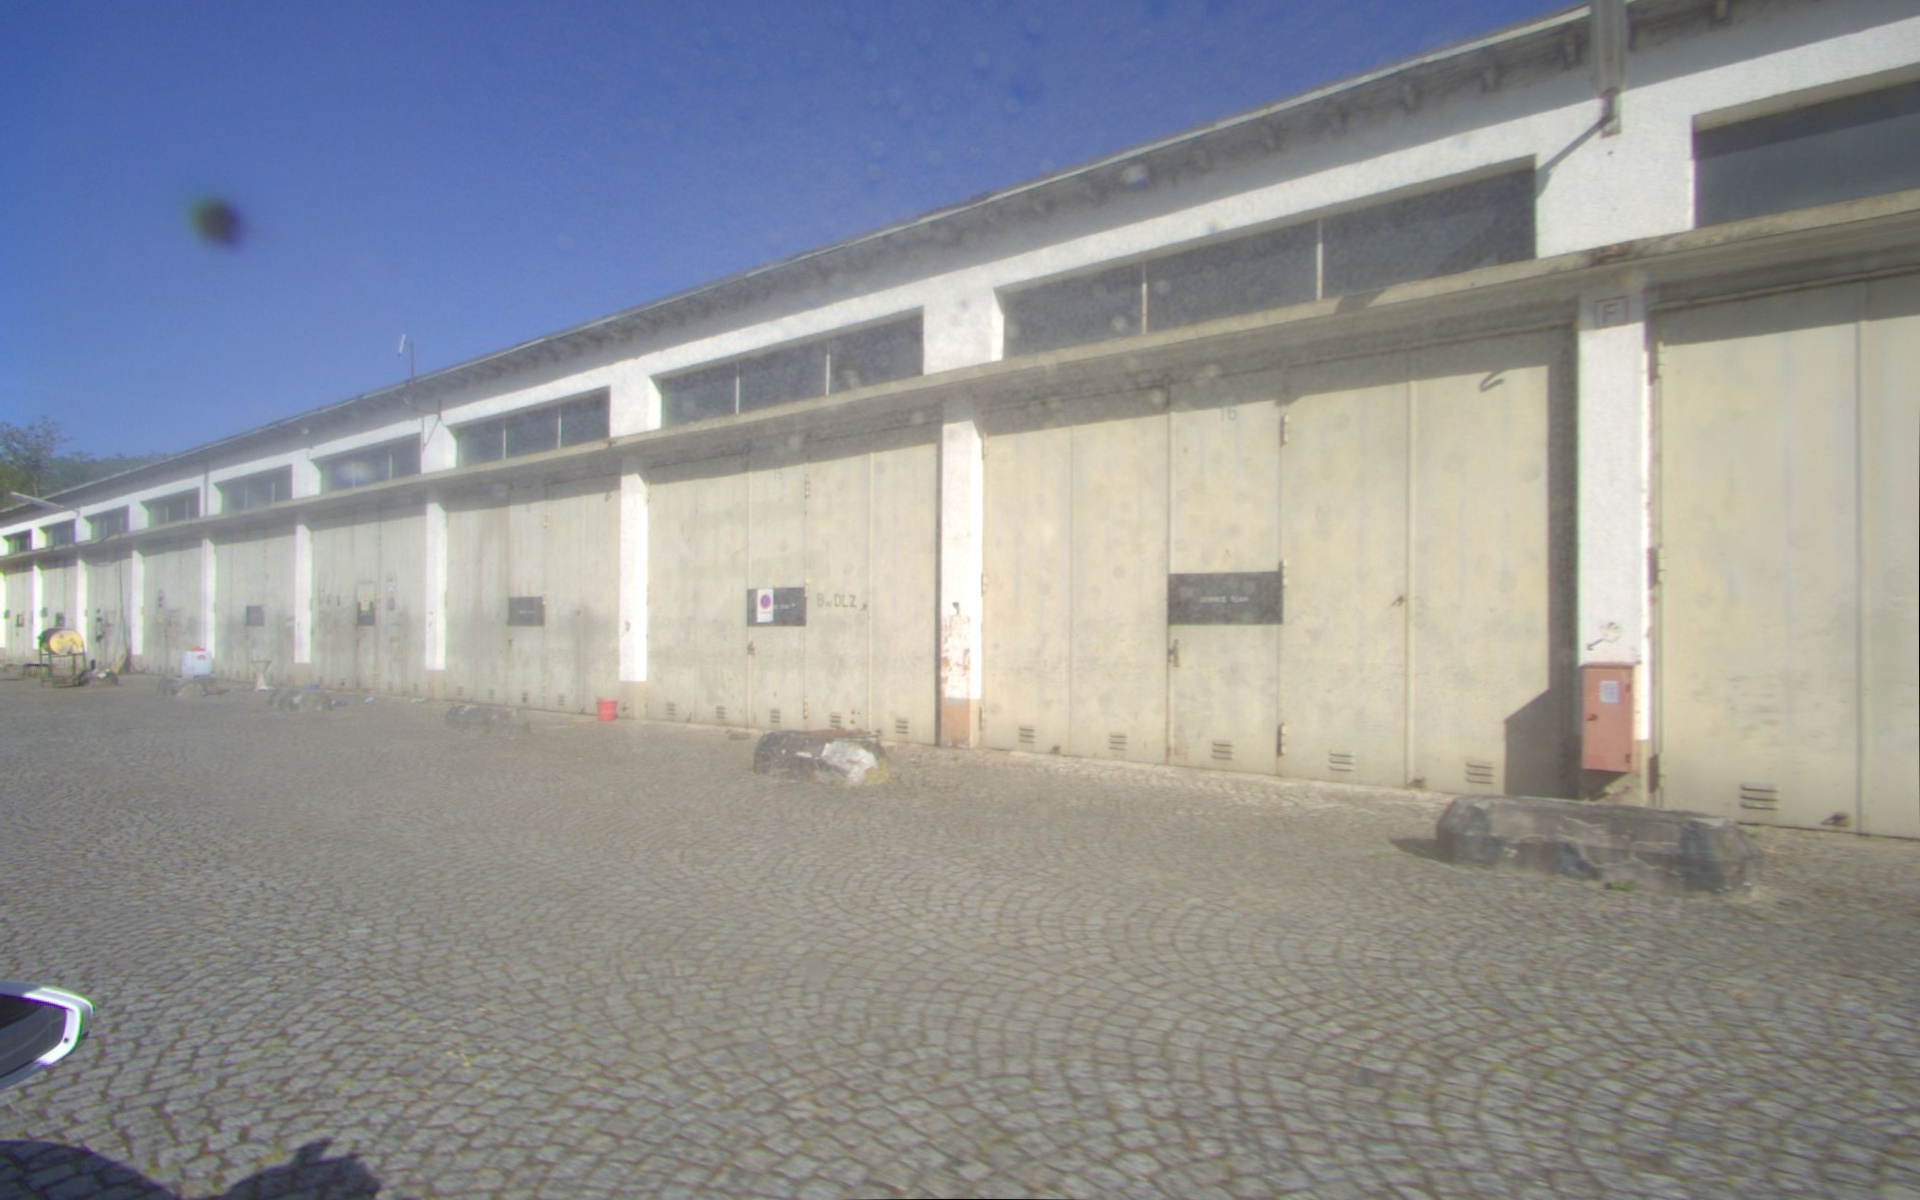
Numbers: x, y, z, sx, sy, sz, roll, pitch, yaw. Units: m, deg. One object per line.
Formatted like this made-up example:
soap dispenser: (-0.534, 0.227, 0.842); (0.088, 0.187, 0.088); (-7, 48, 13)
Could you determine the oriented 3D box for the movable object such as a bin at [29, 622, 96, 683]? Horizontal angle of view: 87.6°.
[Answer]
movable object such as a bin: (-20.539, 1.188, 22.919); (1.262, 1.348, 0.822); (0, -1, 32)
